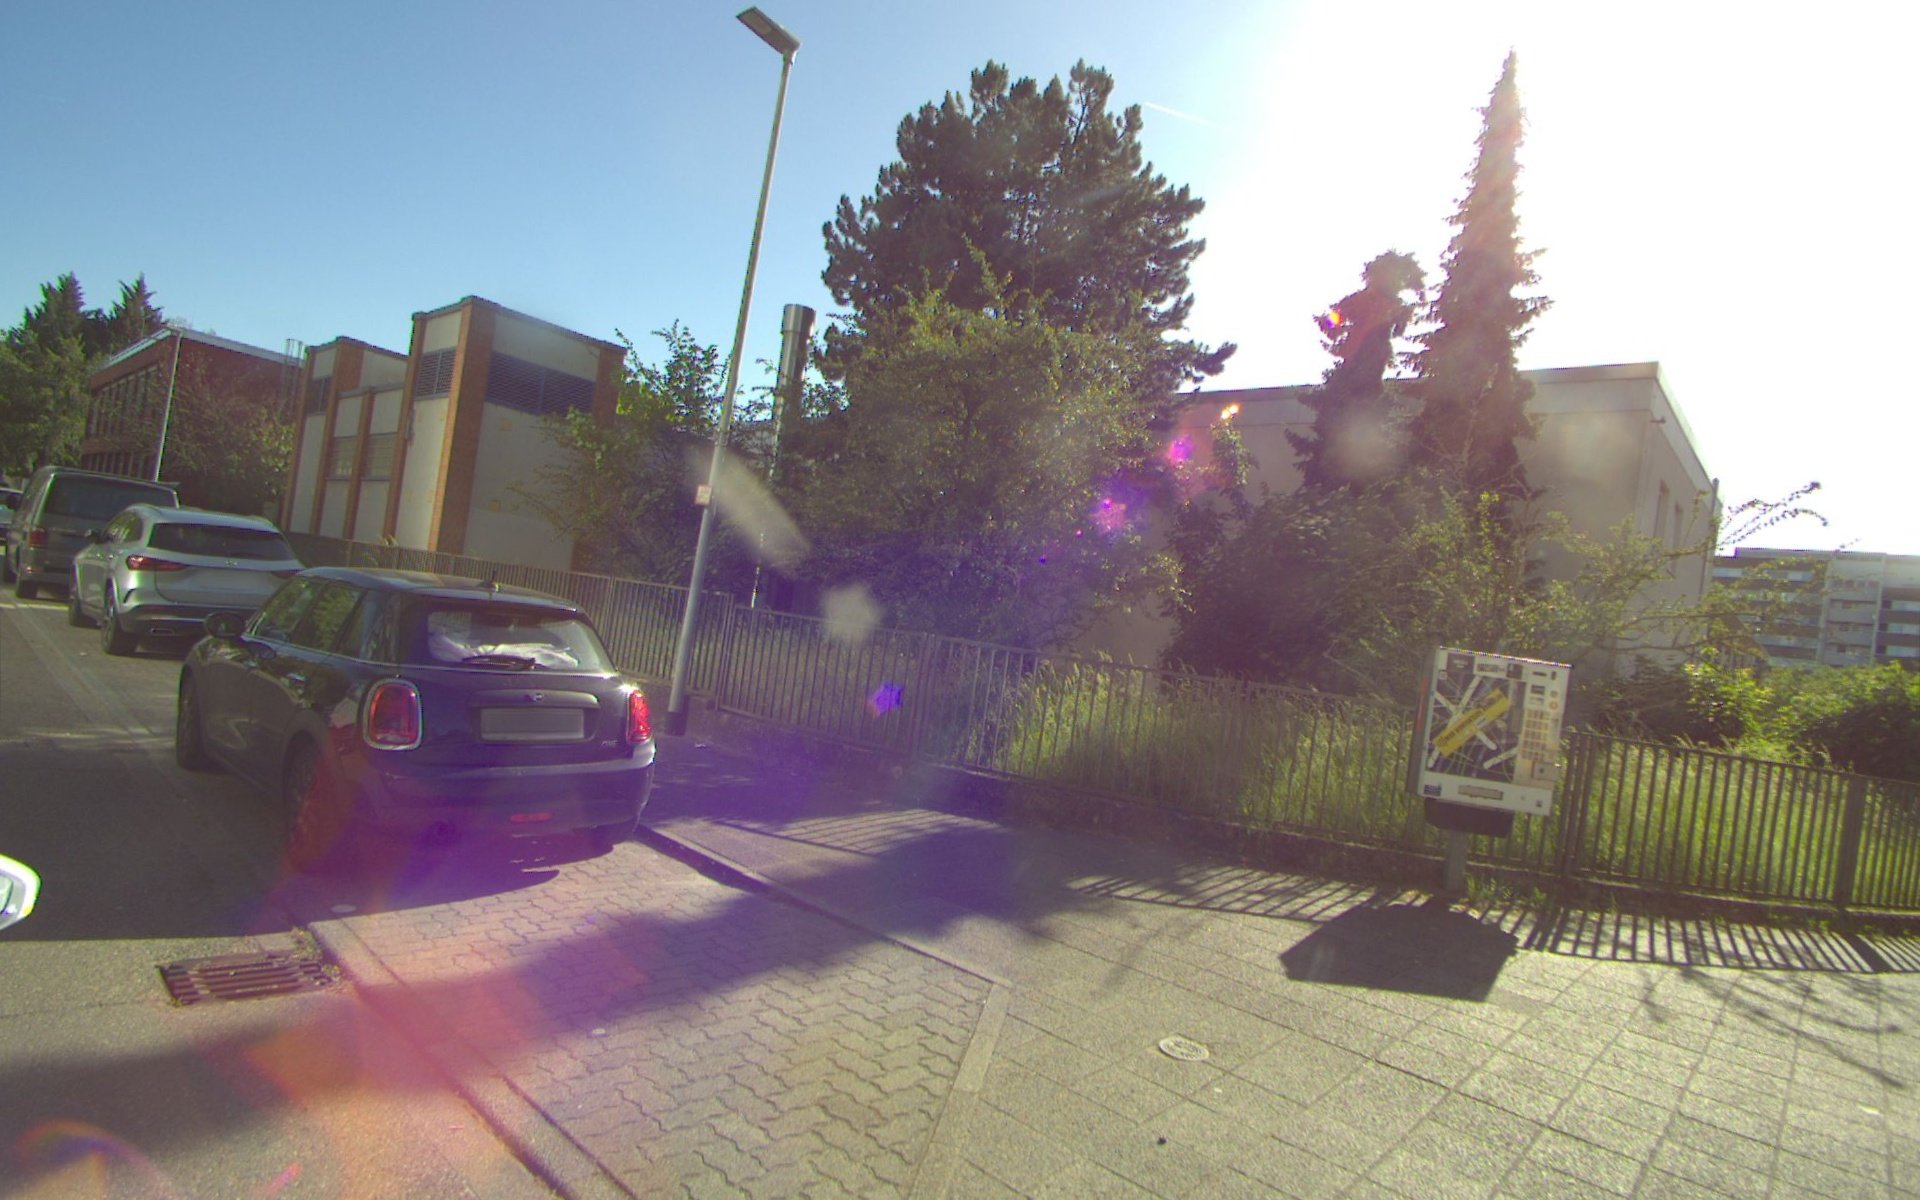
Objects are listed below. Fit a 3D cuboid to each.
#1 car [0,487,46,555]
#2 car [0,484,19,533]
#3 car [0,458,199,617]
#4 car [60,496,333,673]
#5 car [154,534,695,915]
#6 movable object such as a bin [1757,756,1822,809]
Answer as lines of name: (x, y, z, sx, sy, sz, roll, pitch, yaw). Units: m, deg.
car: (-25.822, -2.245, 26.888, 3.882, 1.579, 1.658, 7, -2, 44)
car: (-36.118, -3.539, 37.028, 4.145, 1.652, 1.836, 7, -2, 44)
car: (-14.124, -1.047, 16.281, 4.760, 2.046, 1.940, 6, -1, 43)
car: (-9.339, -0.253, 12.165, 4.235, 1.649, 1.822, 6, -1, 43)
car: (-3.444, 0.530, 6.145, 3.712, 1.490, 1.649, 6, -1, 42)
movable object such as a bin: (26.077, 5.719, 31.610, 1.352, 1.373, 1.624, 7, -2, 43)
